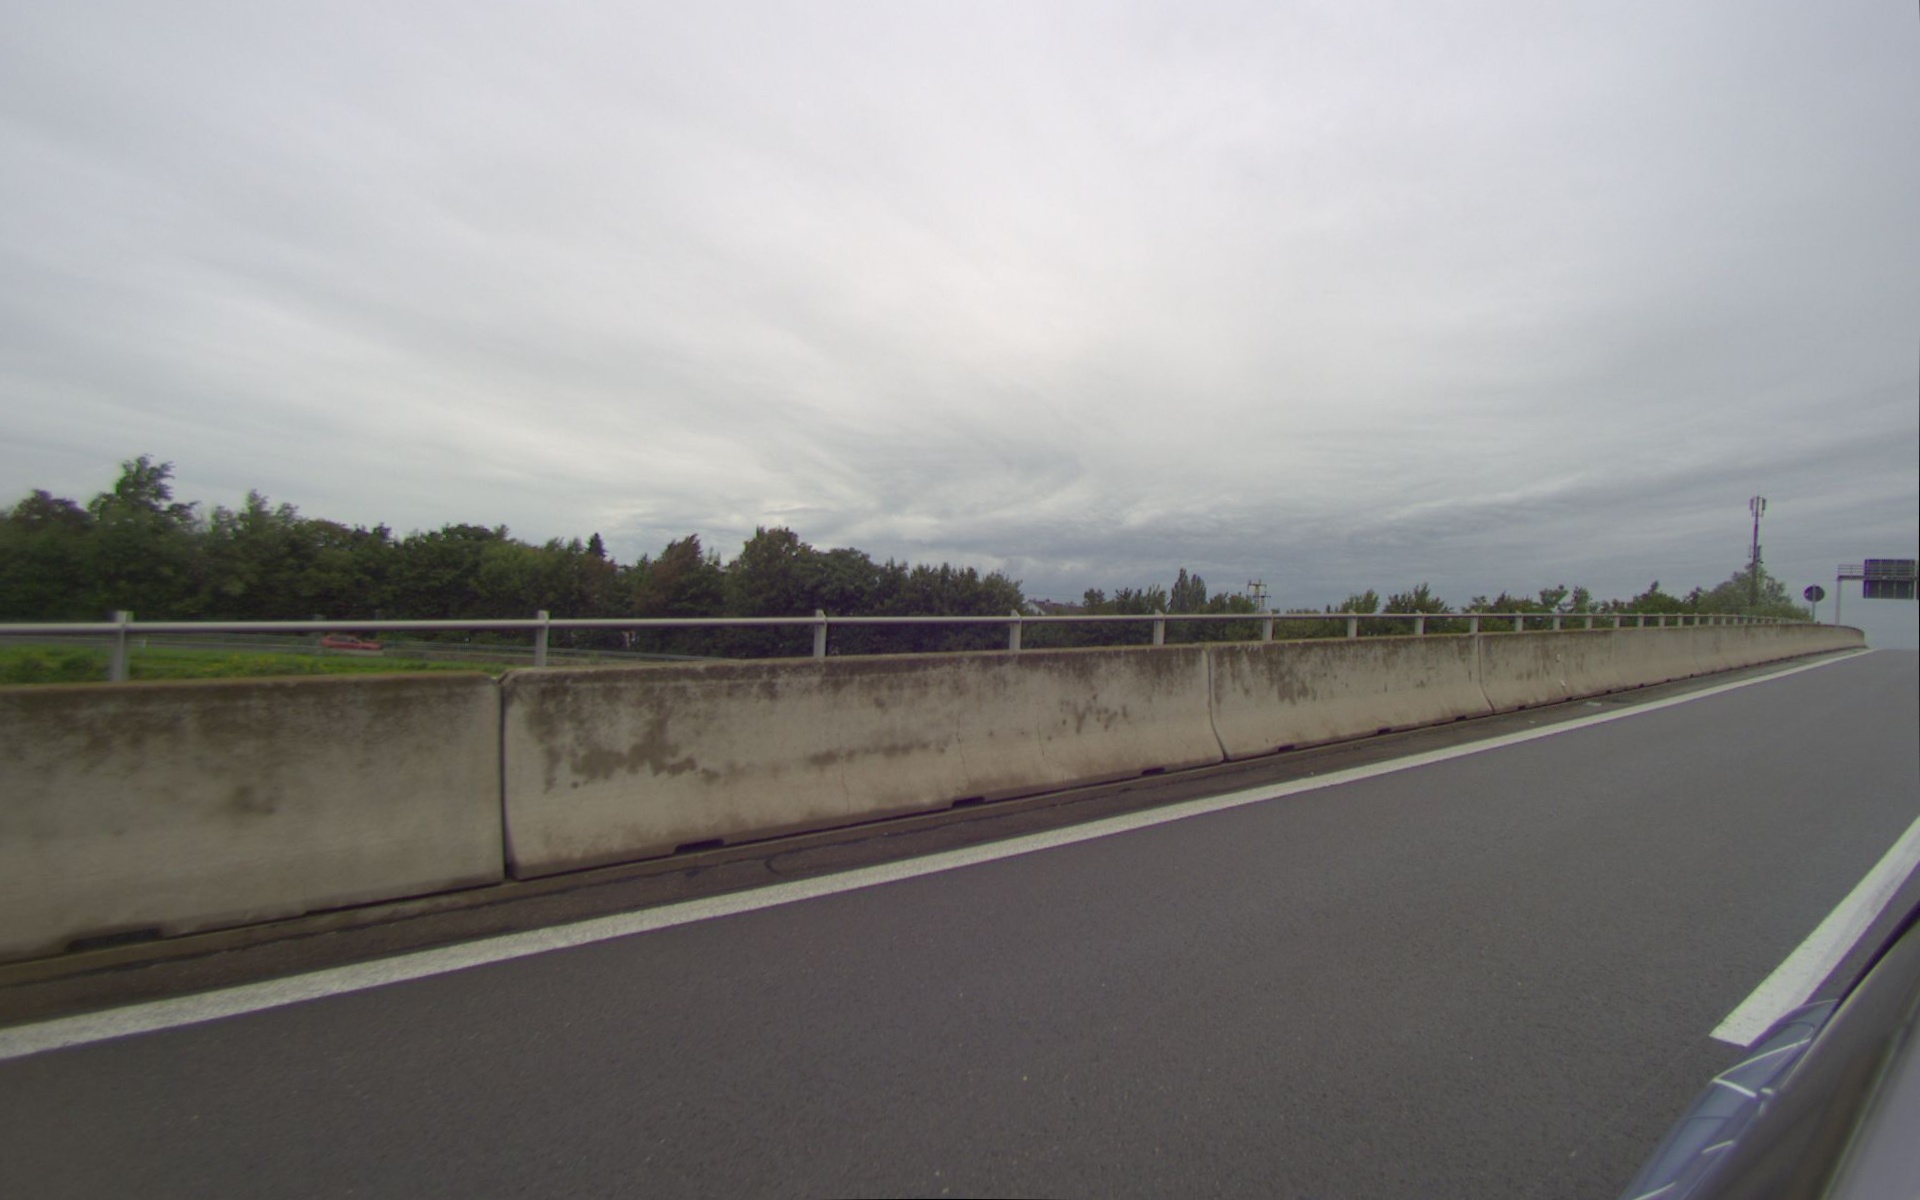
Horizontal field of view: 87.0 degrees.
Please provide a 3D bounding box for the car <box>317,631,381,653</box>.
[{"bbox_3d":[-52.999,3.624,87.884,4.430,1.622,1.720,-2,1,-13],"label":"car"}]
